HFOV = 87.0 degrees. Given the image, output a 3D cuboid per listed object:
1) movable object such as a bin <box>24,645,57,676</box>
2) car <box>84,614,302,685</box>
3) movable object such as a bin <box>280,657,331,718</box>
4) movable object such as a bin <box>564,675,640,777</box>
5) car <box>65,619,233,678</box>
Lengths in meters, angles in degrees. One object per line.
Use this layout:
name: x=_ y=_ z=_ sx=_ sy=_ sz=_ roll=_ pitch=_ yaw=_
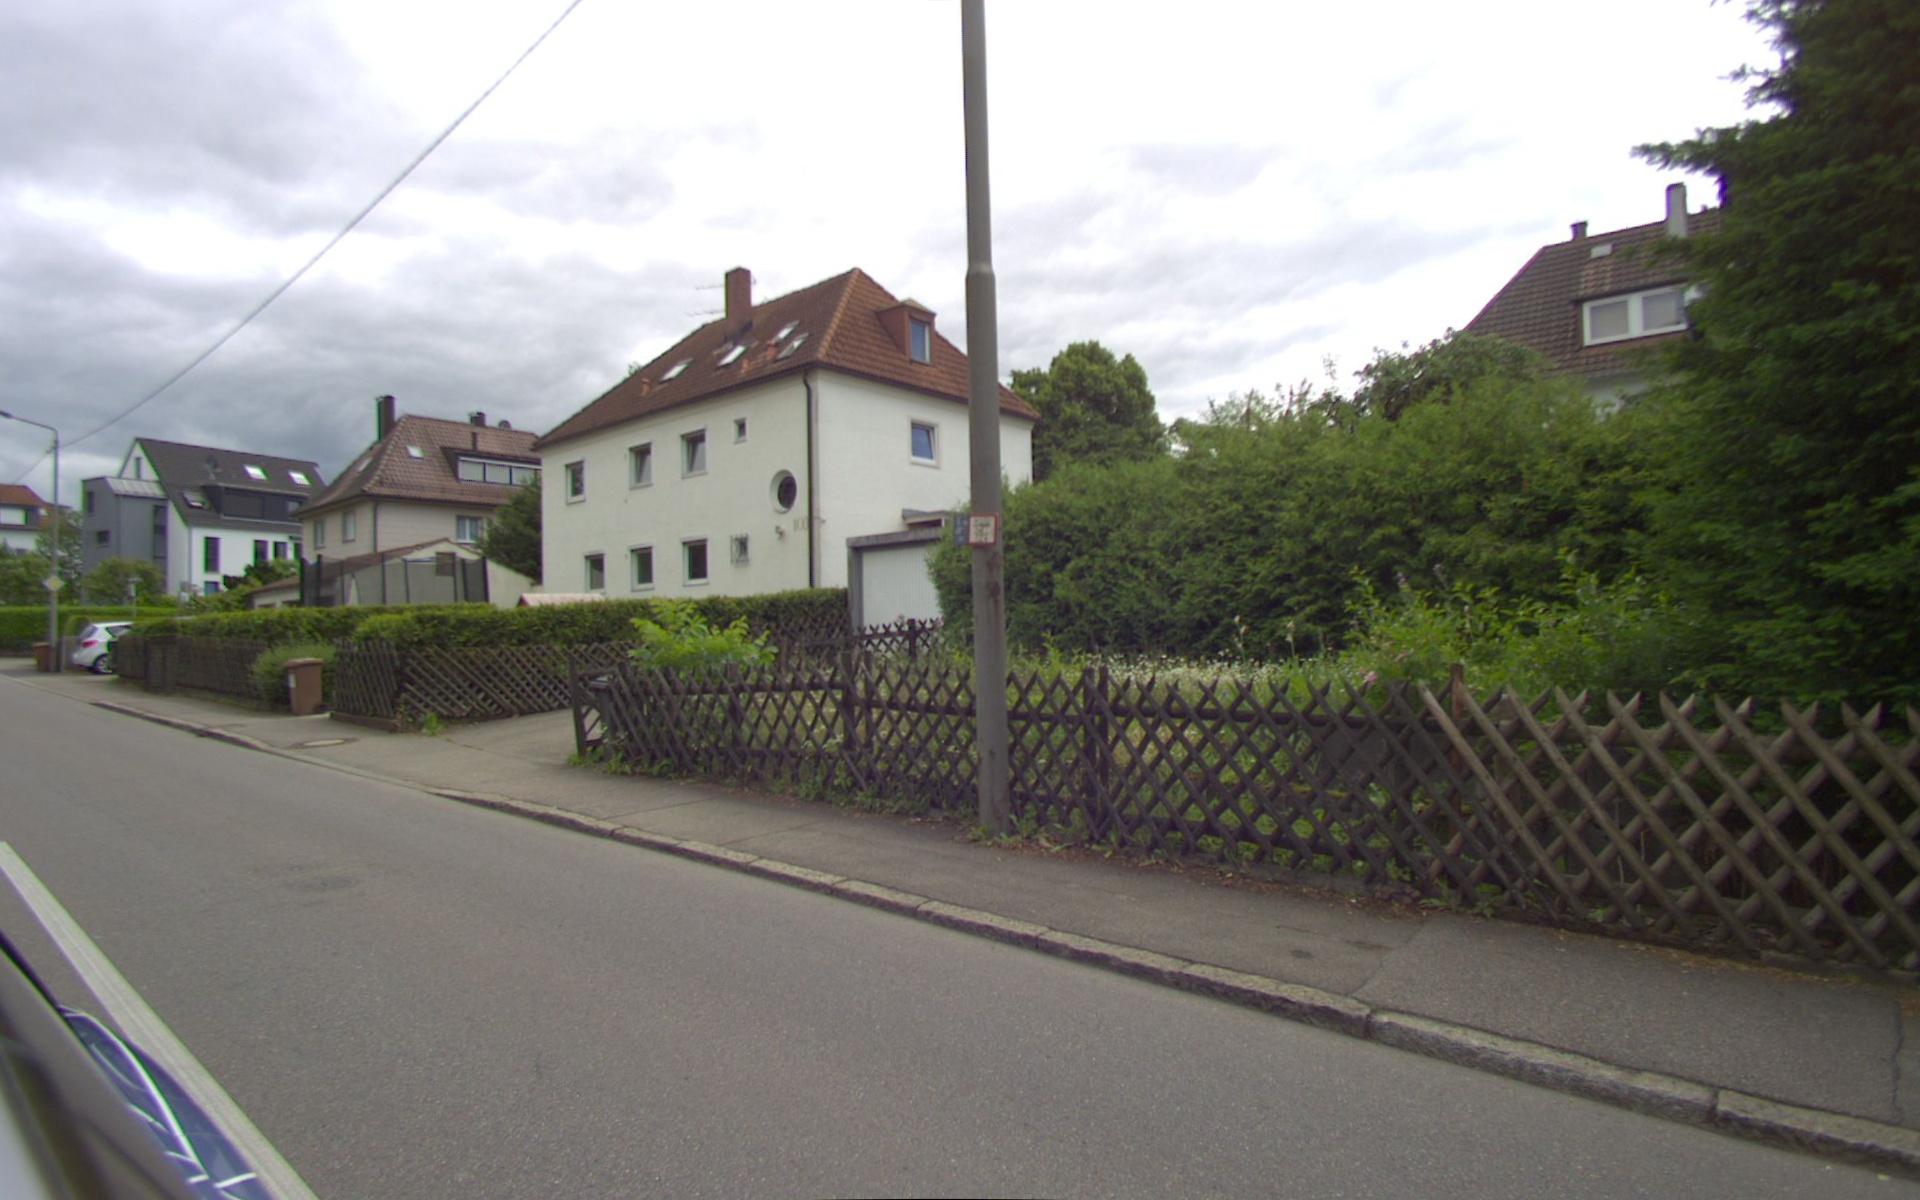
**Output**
movable object such as a bin: x=-29.758 y=1.961 z=32.757 sx=0.678 sy=0.961 sz=0.573 roll=0 pitch=-2 yaw=-31
car: x=-21.821 y=1.355 z=28.962 sx=1.881 sy=1.682 sz=4.624 roll=-2 pitch=1 yaw=39
movable object such as a bin: x=-10.671 y=1.417 z=16.501 sx=0.625 sy=0.920 sz=0.561 roll=-1 pitch=-1 yaw=-39
movable object such as a bin: x=-3.612 y=1.249 z=10.213 sx=0.537 sy=0.945 sz=0.544 roll=-2 pitch=-2 yaw=43
car: x=-25.996 y=1.507 z=32.548 sx=1.717 sy=1.606 sz=3.946 roll=-1 pitch=1 yaw=41
